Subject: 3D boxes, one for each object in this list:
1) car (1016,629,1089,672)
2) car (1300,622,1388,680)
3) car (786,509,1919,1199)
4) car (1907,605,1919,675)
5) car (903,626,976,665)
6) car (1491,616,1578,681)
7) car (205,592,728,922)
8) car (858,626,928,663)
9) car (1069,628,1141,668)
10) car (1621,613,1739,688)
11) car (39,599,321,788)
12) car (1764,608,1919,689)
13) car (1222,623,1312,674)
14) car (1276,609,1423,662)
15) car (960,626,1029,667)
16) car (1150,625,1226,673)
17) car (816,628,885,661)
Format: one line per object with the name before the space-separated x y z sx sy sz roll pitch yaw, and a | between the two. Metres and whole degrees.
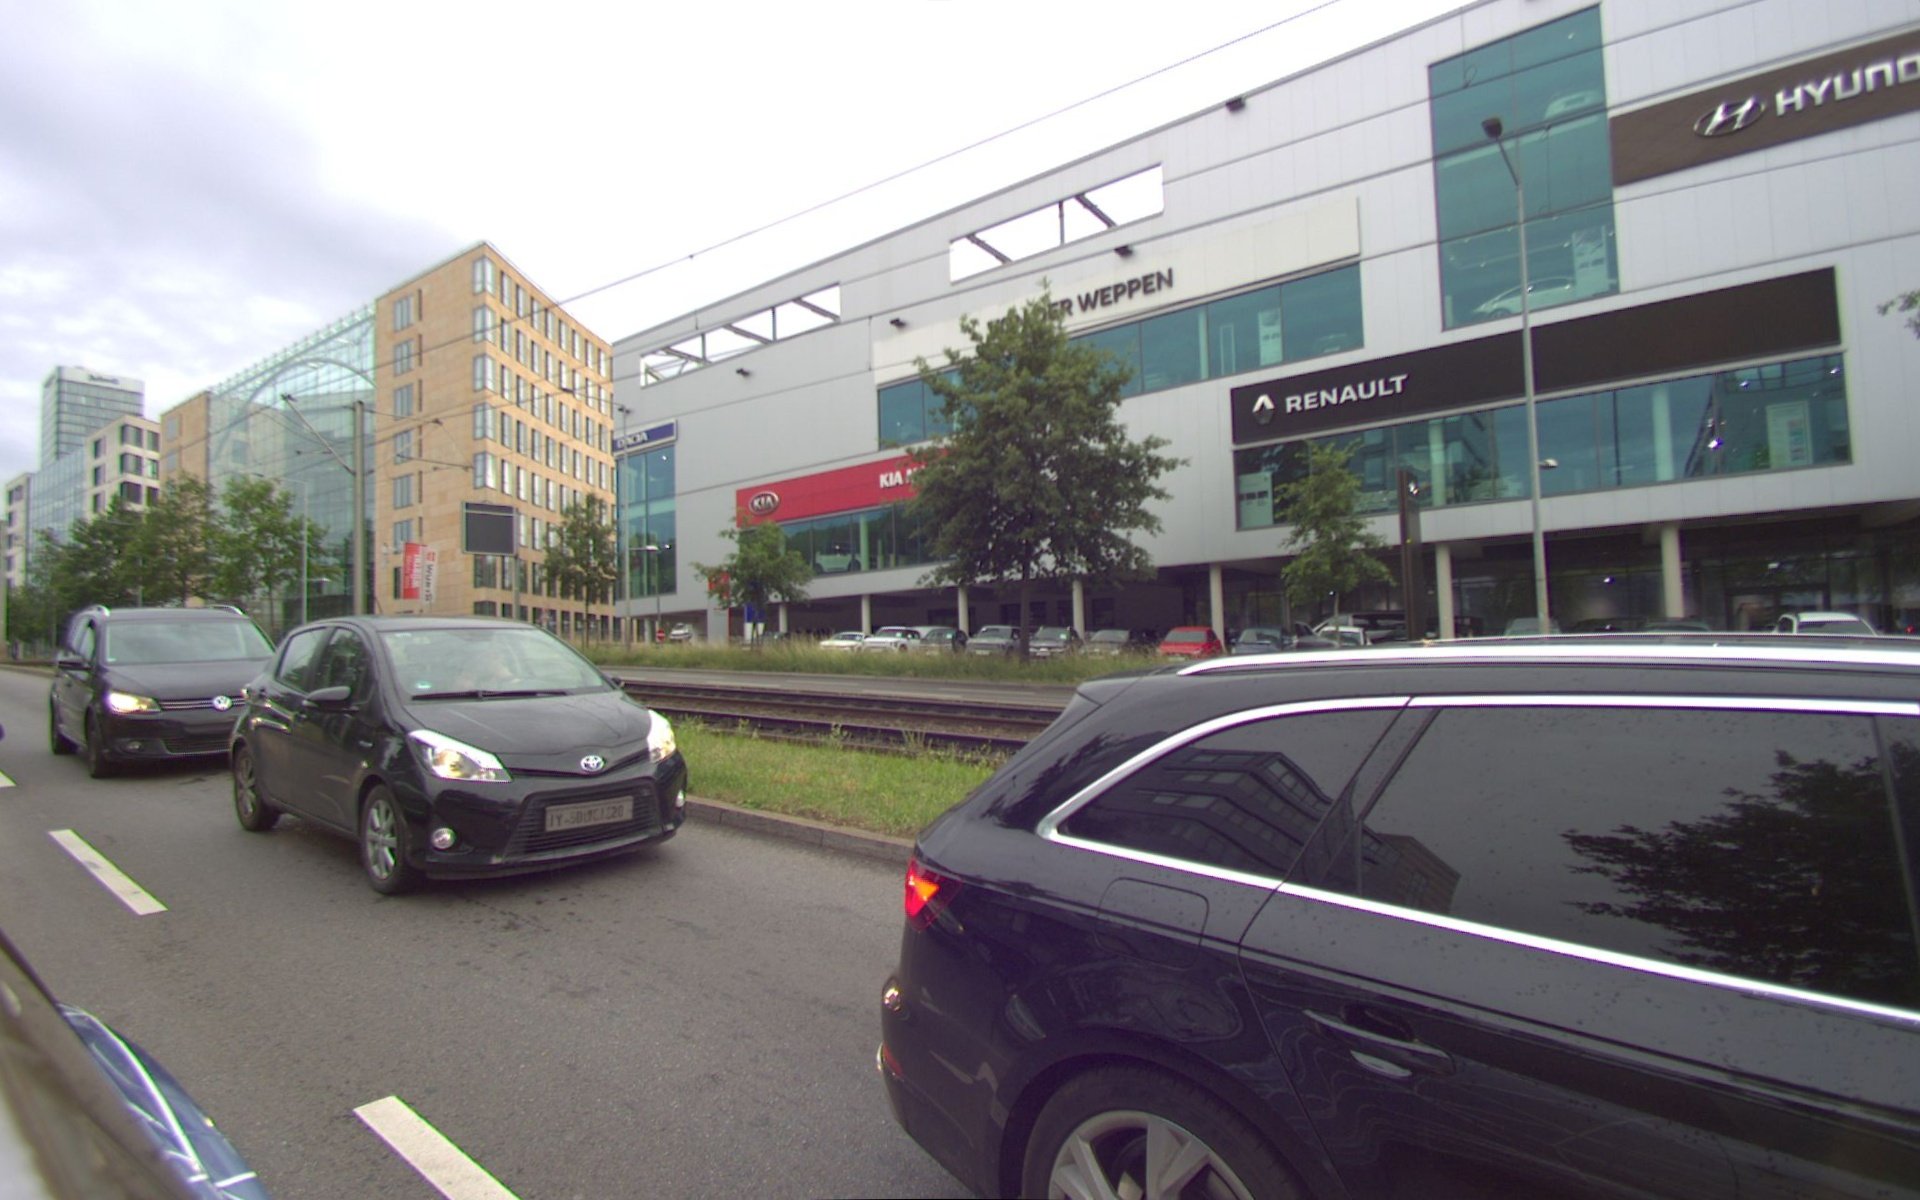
car | 3.503 1.844 37.778 1.688 1.362 3.498 -2 1 24
car | 11.956 1.523 31.341 1.914 1.470 4.005 -1 1 30
car | 1.873 0.638 1.511 4.511 1.478 1.762 -2 -2 41
car | 22.846 0.978 22.255 1.992 1.627 4.331 -1 1 30
car | -0.782 1.820 41.026 1.688 1.362 3.499 -2 1 23
car | 15.863 1.279 27.966 1.925 1.470 3.981 -1 1 30
car | -3.384 0.778 6.634 3.823 1.544 1.683 -1 -1 40
car | -2.790 1.876 42.957 1.685 1.304 3.643 -2 1 18
car | 5.251 1.692 36.318 1.688 1.190 3.498 -2 1 24
car | 18.063 1.203 25.580 1.992 1.562 4.331 -1 1 30
car | -8.472 0.850 10.842 4.318 1.619 1.762 -2 -1 44
car | 20.602 1.056 23.805 1.992 1.562 4.331 -1 1 30
car | 10.082 1.547 33.037 1.914 1.362 4.005 -1 1 30
car | 13.962 1.261 36.493 4.488 1.796 1.997 -1 -1 5
car | 1.397 1.800 39.702 1.686 1.362 3.503 -2 1 20
car | 7.819 1.622 34.441 1.789 1.362 3.903 -2 1 24
car | -4.780 1.946 44.633 1.685 1.196 3.643 -2 1 18
